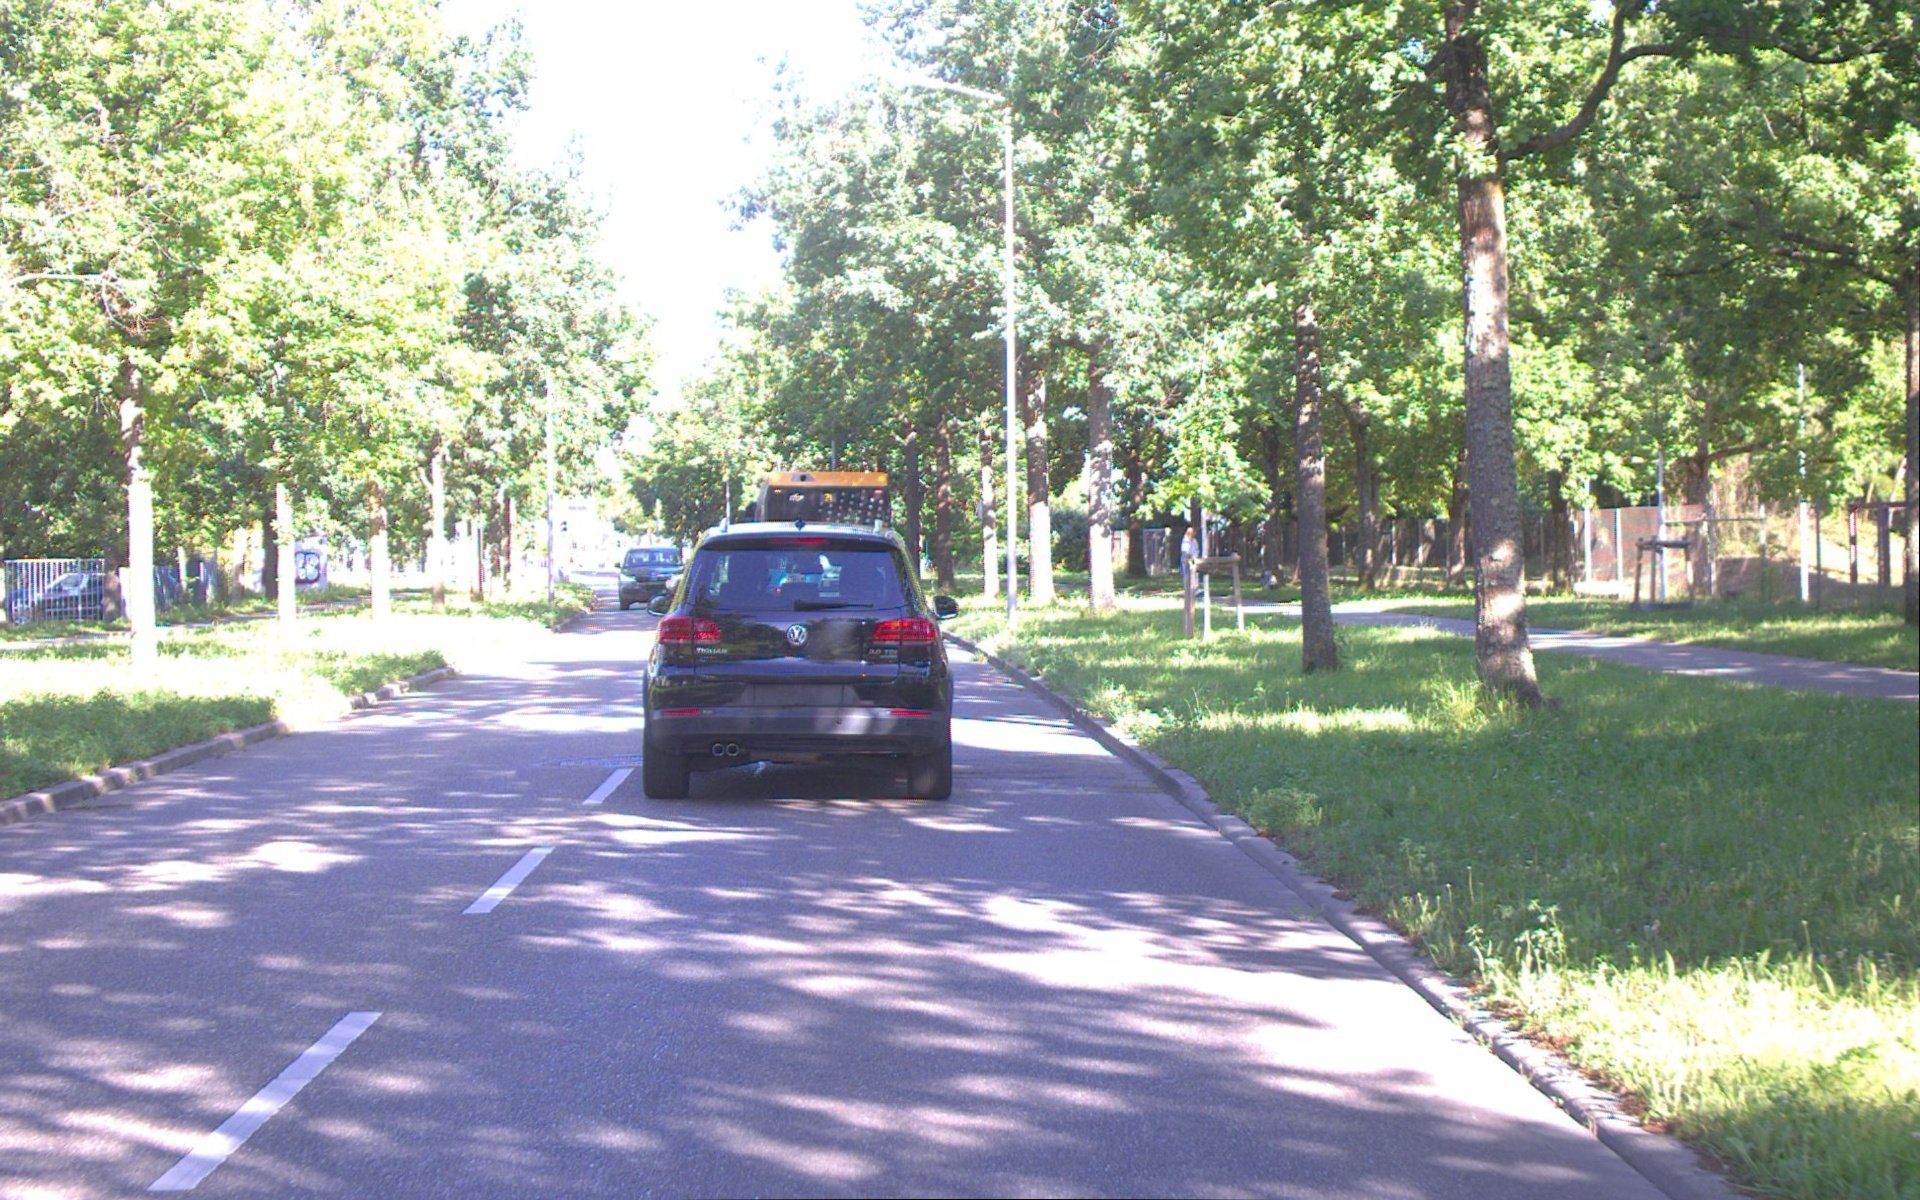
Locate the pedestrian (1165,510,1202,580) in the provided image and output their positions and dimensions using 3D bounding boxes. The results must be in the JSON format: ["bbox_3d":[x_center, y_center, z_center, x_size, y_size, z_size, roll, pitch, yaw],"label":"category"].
[{"bbox_3d":[5.285,-1.309,81.421,0.608,1.625,0.719,-3,1,-14],"label":"pedestrian"}]

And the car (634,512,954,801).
[{"bbox_3d":[-1.136,0.304,21.643,1.782,1.628,4.001,1,1,-6],"label":"car"}]

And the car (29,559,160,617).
[{"bbox_3d":[-27.927,-0.393,110.979,3.986,1.795,2.001,1,0,-11],"label":"car"}]

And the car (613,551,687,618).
[{"bbox_3d":[-8.117,-0.414,90.221,1.767,1.666,4.200,-2,1,-4],"label":"car"}]

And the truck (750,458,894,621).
[{"bbox_3d":[-3.002,-1.261,72.698,2.511,3.232,8.154,0,1,-6],"label":"truck"}]

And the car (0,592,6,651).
[{"bbox_3d":[-26.954,0.591,91.729,1.993,1.592,5.016,1,1,-5],"label":"car"}]
